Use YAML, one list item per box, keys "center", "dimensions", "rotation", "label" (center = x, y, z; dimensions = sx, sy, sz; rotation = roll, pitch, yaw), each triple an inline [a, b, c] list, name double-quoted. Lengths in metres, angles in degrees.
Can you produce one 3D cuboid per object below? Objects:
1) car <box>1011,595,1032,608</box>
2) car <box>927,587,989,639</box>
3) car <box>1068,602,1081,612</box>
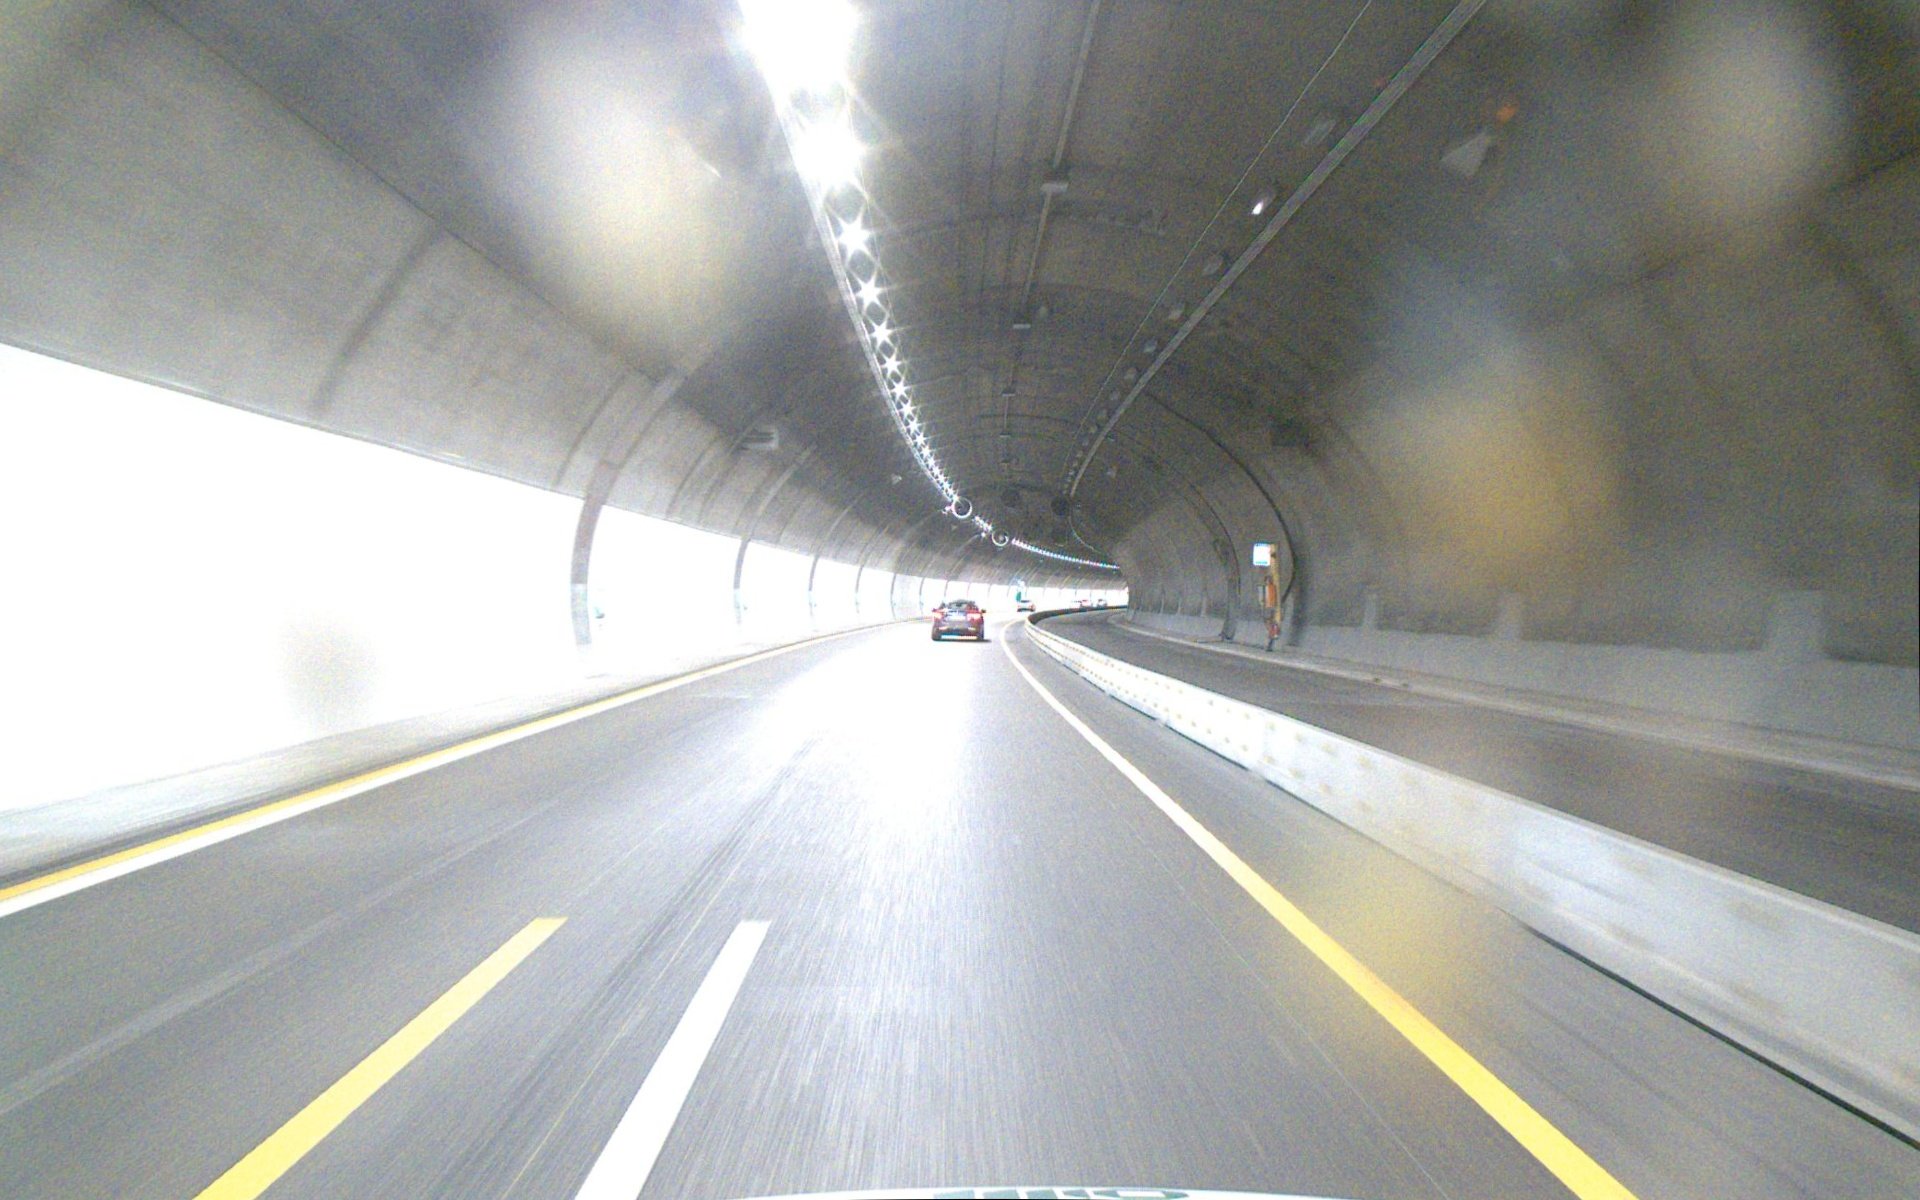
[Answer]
- center: [7.342, 0.128, 196.898]
  dimensions: [2.119, 1.512, 4.003]
  rotation: [1, 0, 6]
  label: "car"
- center: [-0.066, 0.438, 58.731]
  dimensions: [2.097, 1.735, 4.000]
  rotation: [1, 0, 0]
  label: "car"
- center: [16.246, 0.961, 235.010]
  dimensions: [1.561, 1.356, 3.753]
  rotation: [1, 0, 8]
  label: "car"
